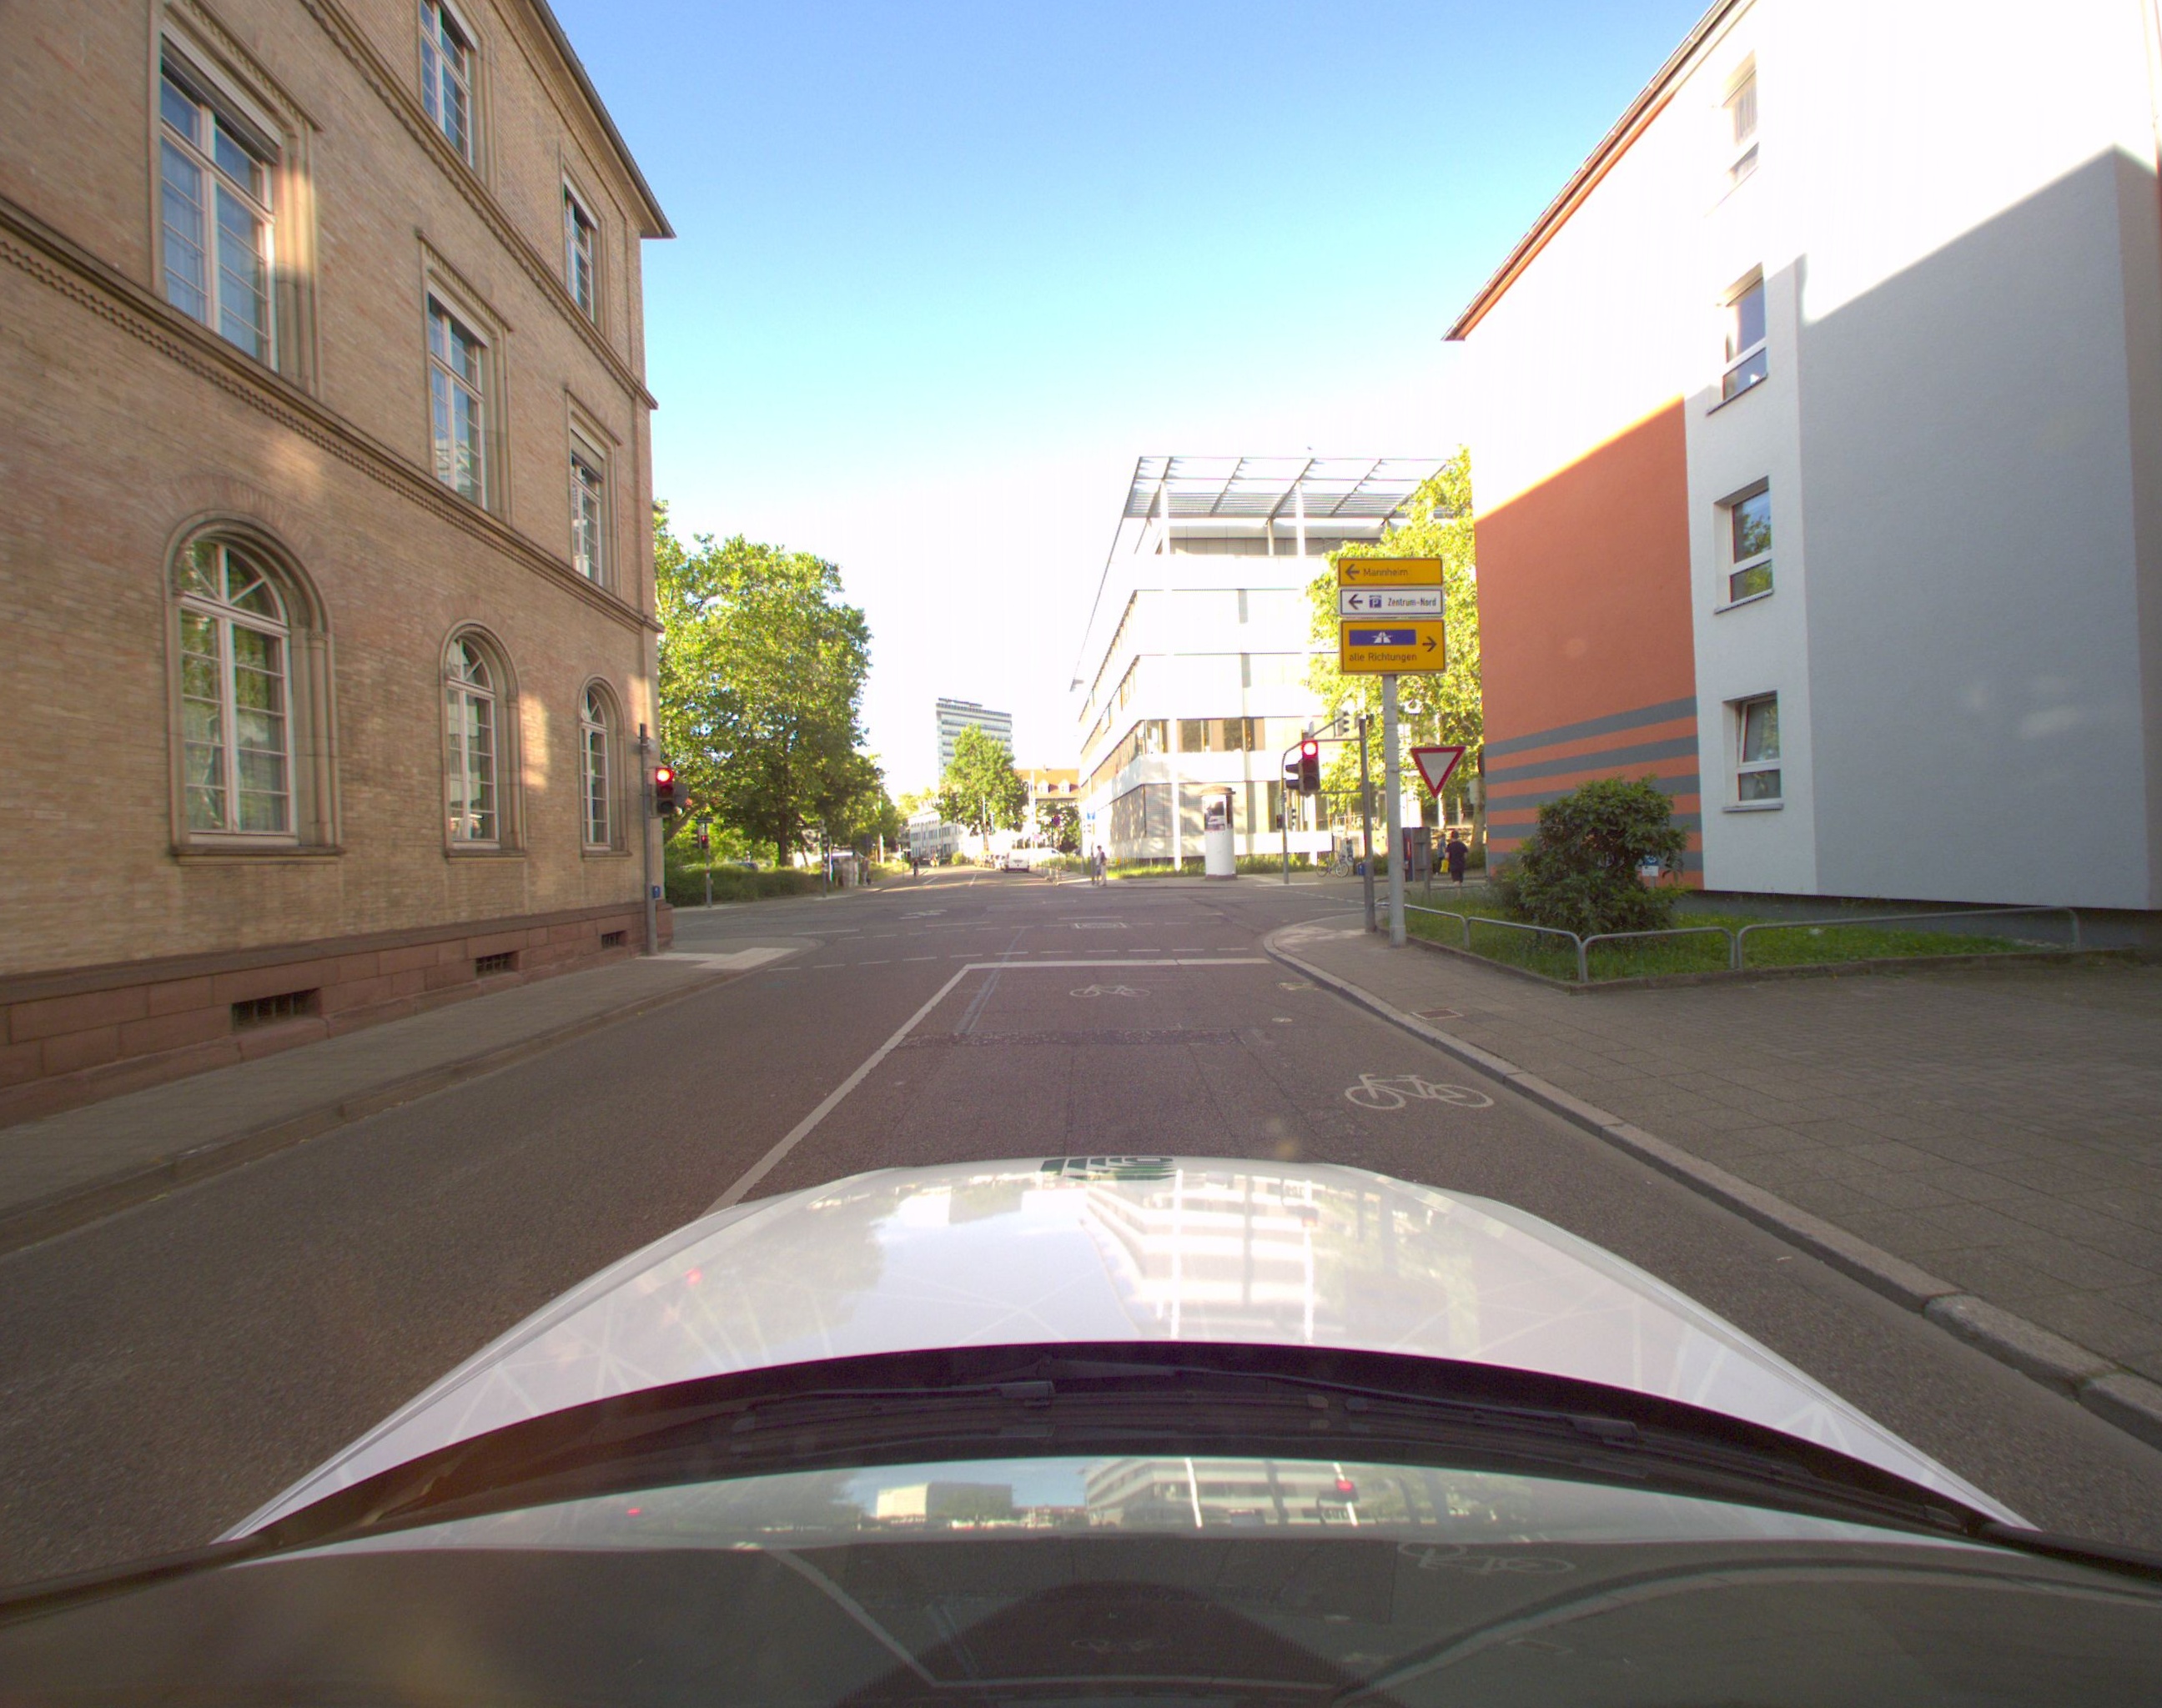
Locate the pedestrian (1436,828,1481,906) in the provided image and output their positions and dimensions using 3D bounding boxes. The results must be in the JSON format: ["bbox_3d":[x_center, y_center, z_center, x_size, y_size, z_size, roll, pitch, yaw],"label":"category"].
[{"bbox_3d":[9.064,0.298,19.582,0.704,1.840,0.837,0,0,1],"label":"pedestrian"}]

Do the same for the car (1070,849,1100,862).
[{"bbox_3d":[0.497,0.166,104.456,3.563,1.546,1.549,-2,0,-17],"label":"car"}]

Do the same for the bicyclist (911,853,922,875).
[{"bbox_3d":[-11.656,0.734,57.848,0.615,1.532,0.901,-3,0,-7],"label":"bicyclist"}]

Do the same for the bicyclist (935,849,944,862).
[{"bbox_3d":[-17.091,0.203,98.312,0.865,1.515,1.016,-5,0,-8],"label":"bicyclist"}]

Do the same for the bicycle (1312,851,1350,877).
[{"bbox_3d":[11.027,0.417,35.939,0.510,1.049,1.670,-4,3,-33],"label":"bicycle"}]

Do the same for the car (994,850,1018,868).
[{"bbox_3d":[-7.275,0.475,78.693,1.889,1.555,4.398,-2,1,-11],"label":"car"}]

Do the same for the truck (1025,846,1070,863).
[{"bbox_3d":[-4.254,0.065,103.385,5.351,2.013,1.988,-2,0,-17],"label":"truck"}]

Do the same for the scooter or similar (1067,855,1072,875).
[{"bbox_3d":[-0.832,0.755,58.772,0.329,1.424,1.333,0,-1,-4],"label":"scooter or similar"}]

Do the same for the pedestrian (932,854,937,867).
[{"bbox_3d":[-19.160,0.850,106.564,0.435,1.607,0.489,-2,0,-24],"label":"pedestrian"}]

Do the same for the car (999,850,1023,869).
[{"bbox_3d":[-6.340,0.500,73.295,1.887,1.555,4.403,-2,1,-8],"label":"car"}]

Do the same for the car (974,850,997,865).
[{"bbox_3d":[-11.284,0.423,95.988,1.893,1.655,4.390,-2,1,-16],"label":"car"}]

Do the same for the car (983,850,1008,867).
[{"bbox_3d":[-9.034,0.431,85.990,1.893,1.655,4.390,-2,1,-16],"label":"car"}]

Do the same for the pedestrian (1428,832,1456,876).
[{"bbox_3d":[15.135,-0.011,34.138,0.834,1.840,0.707,0,0,-8],"label":"pedestrian"}]

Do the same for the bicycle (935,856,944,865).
[{"bbox_3d":[-17.056,0.741,98.296,0.865,1.009,2.408,-5,0,-7],"label":"bicycle"}]

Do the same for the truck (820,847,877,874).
[{"bbox_3d":[-21.616,0.587,75.852,4.825,2.399,2.082,-2,0,-8],"label":"truck"}]

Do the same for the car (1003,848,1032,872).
[{"bbox_3d":[-5.099,0.447,64.989,2.084,1.795,4.403,-2,1,-8],"label":"car"}]

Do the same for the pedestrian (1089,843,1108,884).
[{"bbox_3d":[0.829,0.446,37.958,0.555,1.850,0.680,-5,1,18],"label":"pedestrian"}]

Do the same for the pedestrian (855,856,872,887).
[{"bbox_3d":[-12.480,0.976,46.724,0.702,1.723,0.952,-3,0,-8],"label":"pedestrian"}]

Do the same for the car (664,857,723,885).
[{"bbox_3d":[-37.175,1.623,78.140,4.551,2.391,2.069,-3,0,-7],"label":"car"}]

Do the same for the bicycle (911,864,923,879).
[{"bbox_3d":[-11.634,1.248,57.834,0.615,0.969,1.837,-3,0,-7],"label":"bicycle"}]

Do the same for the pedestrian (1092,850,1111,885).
[{"bbox_3d":[0.922,0.604,37.348,0.561,1.540,0.673,-5,1,-16],"label":"pedestrian"}]
